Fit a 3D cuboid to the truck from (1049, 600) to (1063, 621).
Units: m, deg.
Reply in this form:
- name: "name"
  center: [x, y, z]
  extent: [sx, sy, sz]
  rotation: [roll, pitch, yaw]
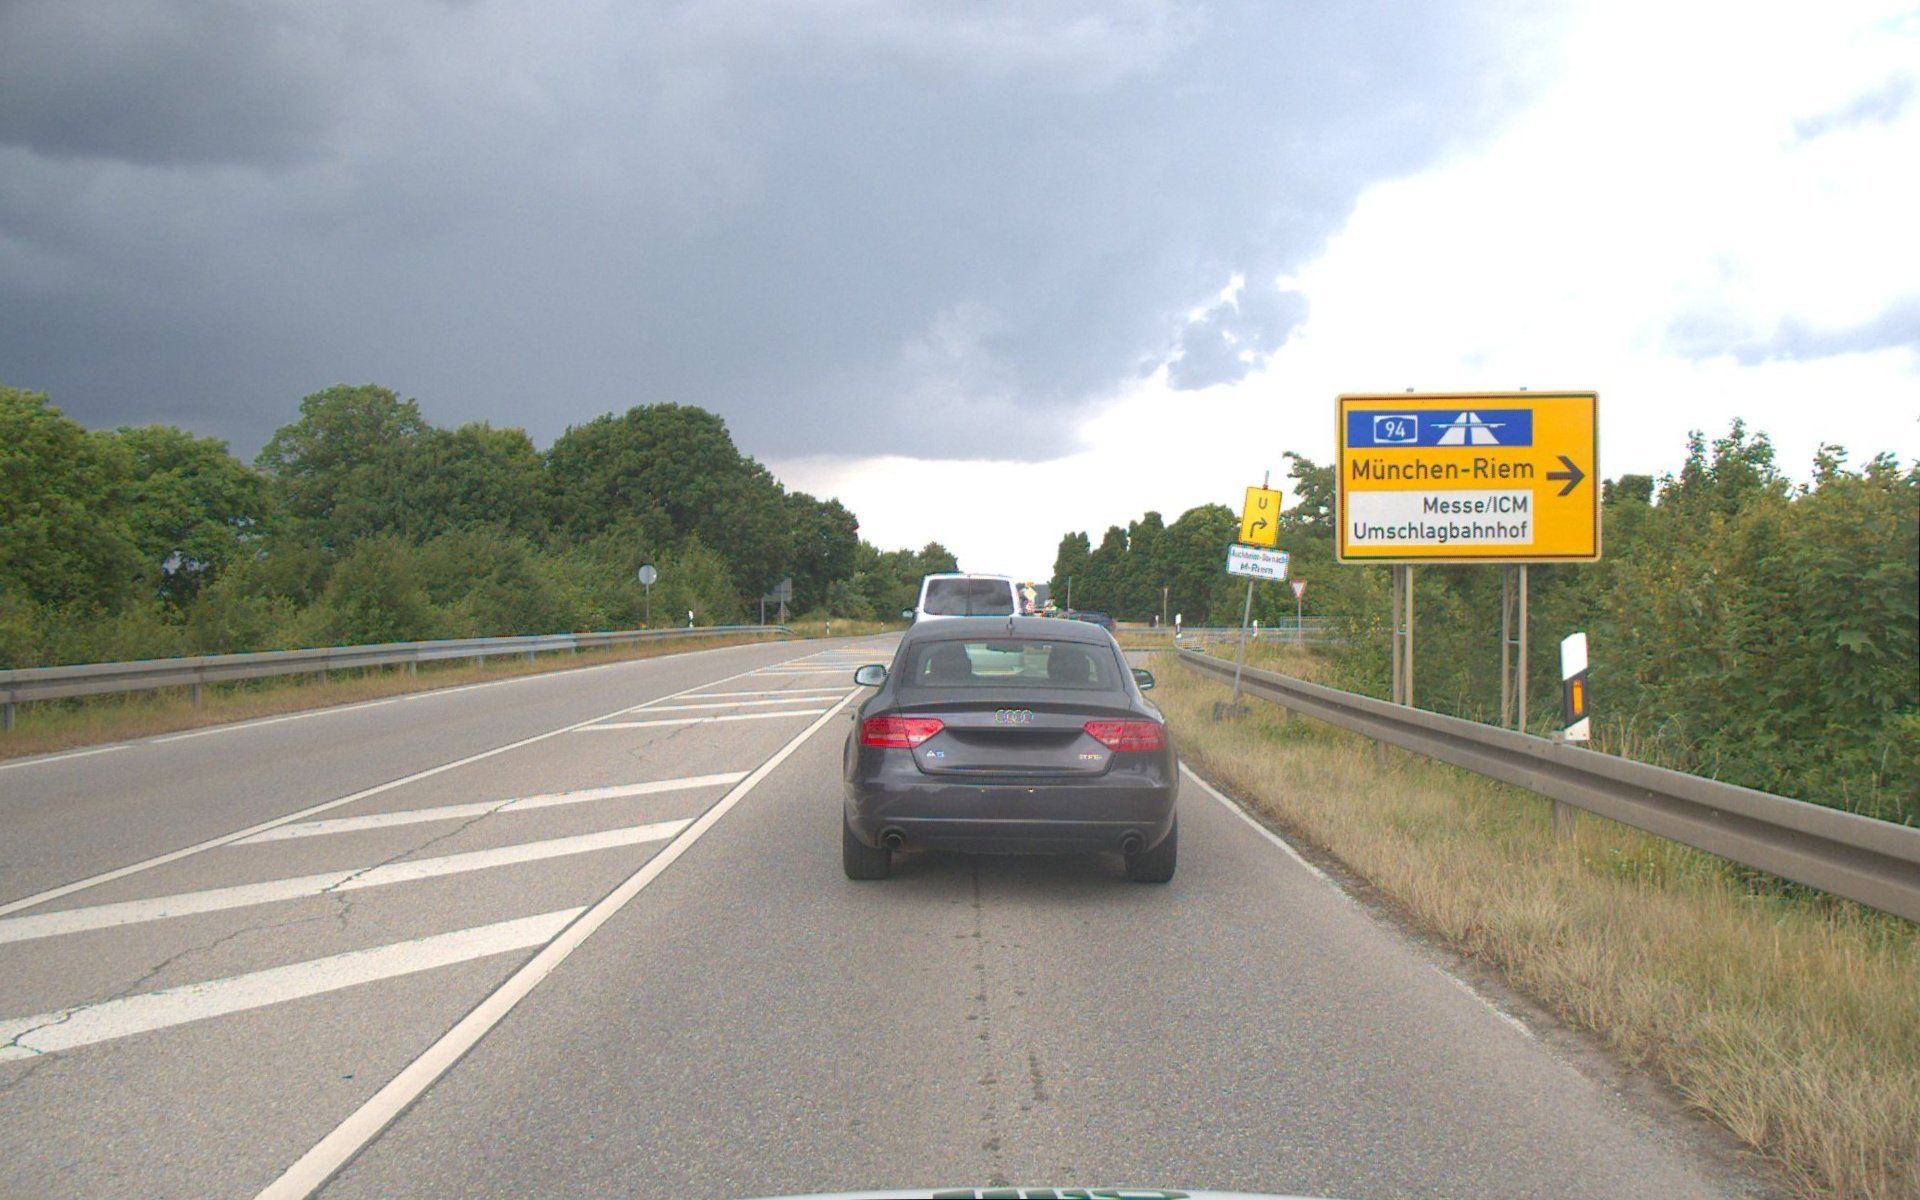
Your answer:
- name: "truck"
  center: [14.024, 1.452, 241.244]
  extent: [1.952, 2.969, 5.795]
  rotation: [1, 0, 3]

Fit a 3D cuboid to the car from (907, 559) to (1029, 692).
- name: "car"
  center: [0.112, 0.395, 27.732]
  extent: [1.871, 2.049, 3.999]
  rotation: [1, 0, -1]

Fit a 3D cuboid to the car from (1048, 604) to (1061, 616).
- name: "car"
  center: [14.811, 1.558, 259.659]
  extent: [1.952, 1.722, 4.001]
  rotation: [1, 0, 2]

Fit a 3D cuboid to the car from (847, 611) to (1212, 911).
- name: "car"
  center: [0.312, 0.782, 9.571]
  extent: [1.743, 1.423, 3.336]
  rotation: [0, 0, -1]

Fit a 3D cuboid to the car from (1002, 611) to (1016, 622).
- name: "car"
  center: [6.624, 2.208, 225.237]
  extent: [1.699, 1.479, 3.999]
  rotation: [1, 0, -1]

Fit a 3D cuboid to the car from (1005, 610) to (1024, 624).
- name: "car"
  center: [6.605, 2.100, 200.908]
  extent: [2.161, 1.610, 4.378]
  rotation: [1, 0, -1]
